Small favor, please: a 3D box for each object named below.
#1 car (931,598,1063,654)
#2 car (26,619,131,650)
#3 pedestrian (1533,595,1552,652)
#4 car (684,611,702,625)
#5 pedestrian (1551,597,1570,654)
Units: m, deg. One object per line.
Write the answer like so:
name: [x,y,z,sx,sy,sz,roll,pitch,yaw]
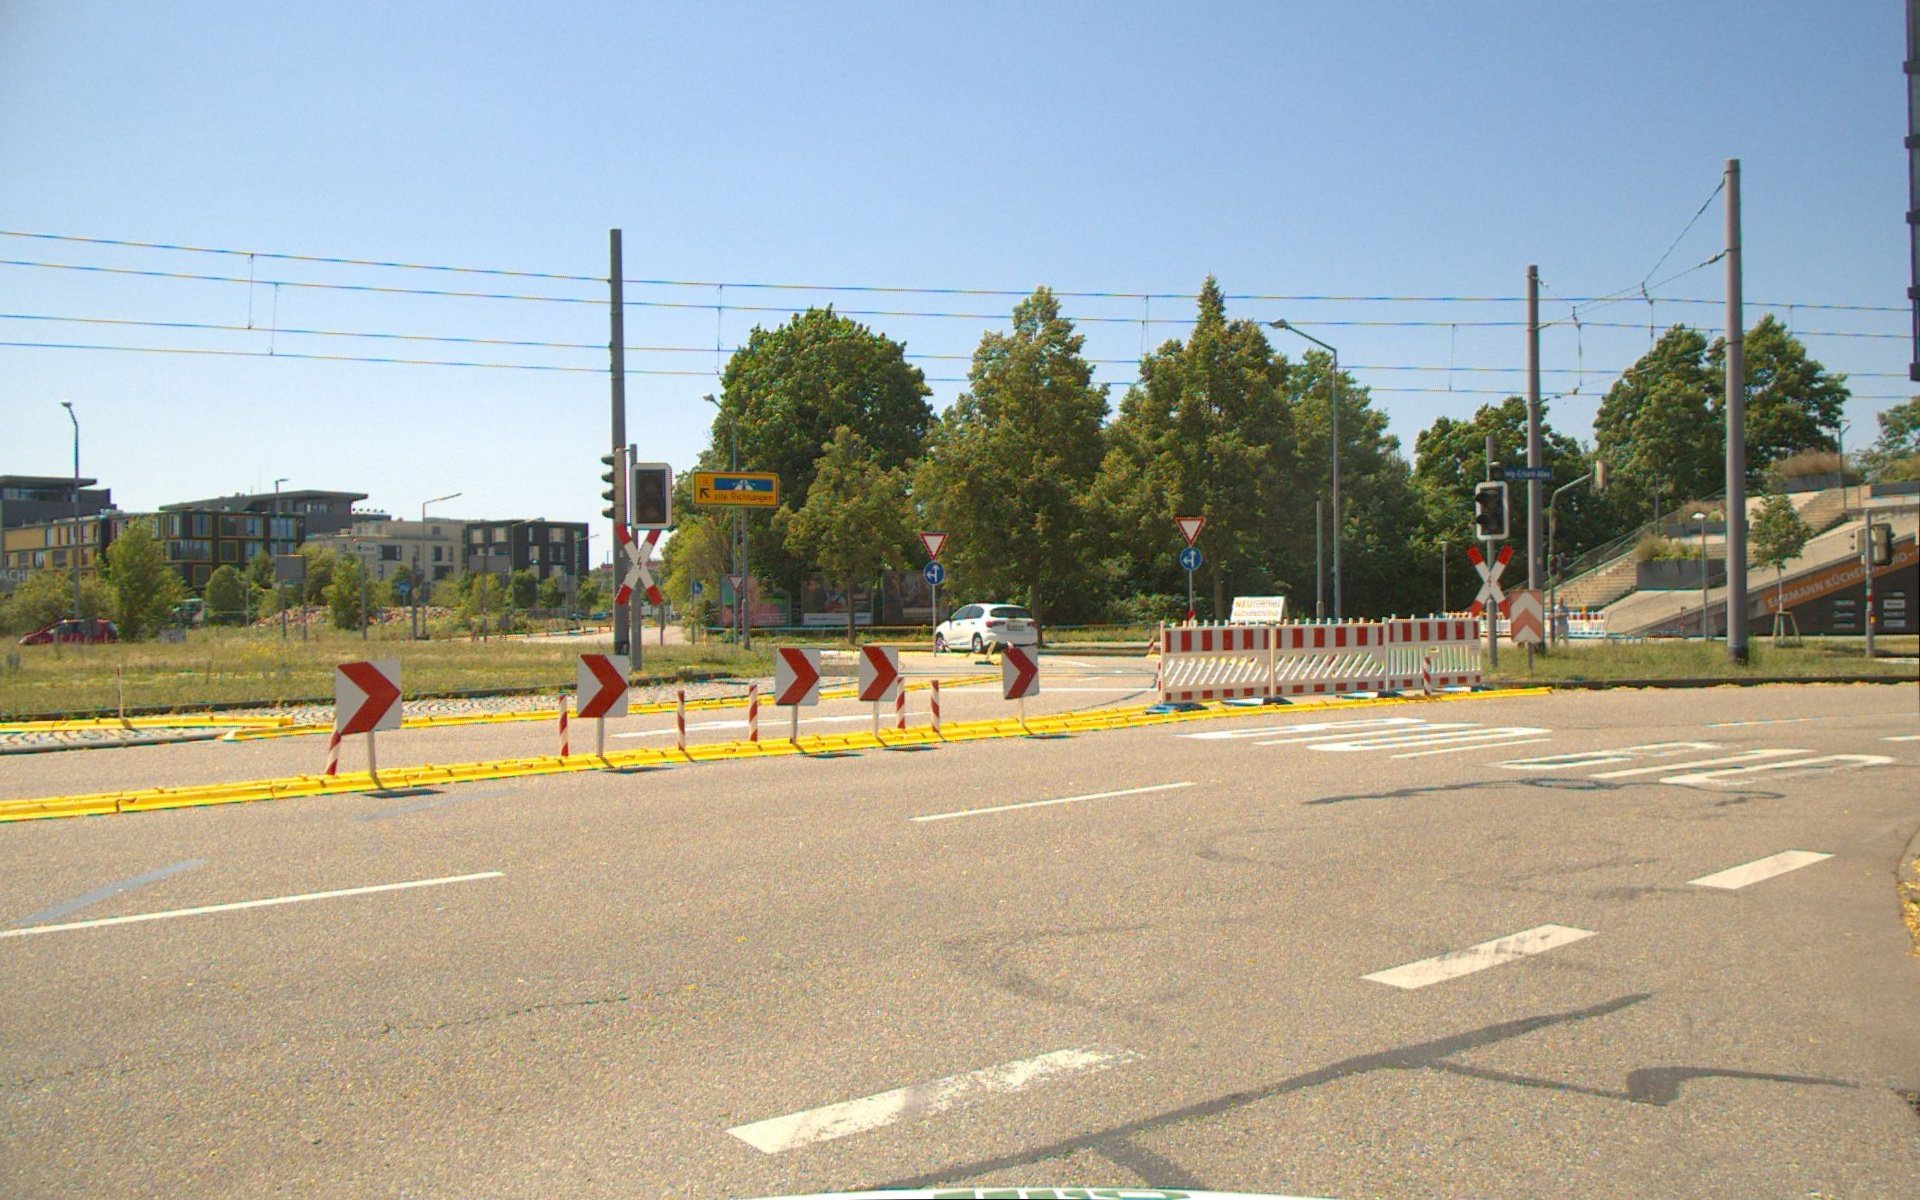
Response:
car: [1.009,0.730,47.690,1.971,1.512,4.326,-1,0,-28]
car: [-34.140,1.342,64.139,3.462,1.109,1.487,-1,0,-24]
pedestrian: [18.176,0.739,51.613,0.439,1.769,0.291,0,0,-4]
car: [-26.698,1.787,165.490,1.626,1.396,3.028,-1,0,-6]
pedestrian: [18.743,0.807,51.623,0.439,1.769,0.318,0,0,-4]
